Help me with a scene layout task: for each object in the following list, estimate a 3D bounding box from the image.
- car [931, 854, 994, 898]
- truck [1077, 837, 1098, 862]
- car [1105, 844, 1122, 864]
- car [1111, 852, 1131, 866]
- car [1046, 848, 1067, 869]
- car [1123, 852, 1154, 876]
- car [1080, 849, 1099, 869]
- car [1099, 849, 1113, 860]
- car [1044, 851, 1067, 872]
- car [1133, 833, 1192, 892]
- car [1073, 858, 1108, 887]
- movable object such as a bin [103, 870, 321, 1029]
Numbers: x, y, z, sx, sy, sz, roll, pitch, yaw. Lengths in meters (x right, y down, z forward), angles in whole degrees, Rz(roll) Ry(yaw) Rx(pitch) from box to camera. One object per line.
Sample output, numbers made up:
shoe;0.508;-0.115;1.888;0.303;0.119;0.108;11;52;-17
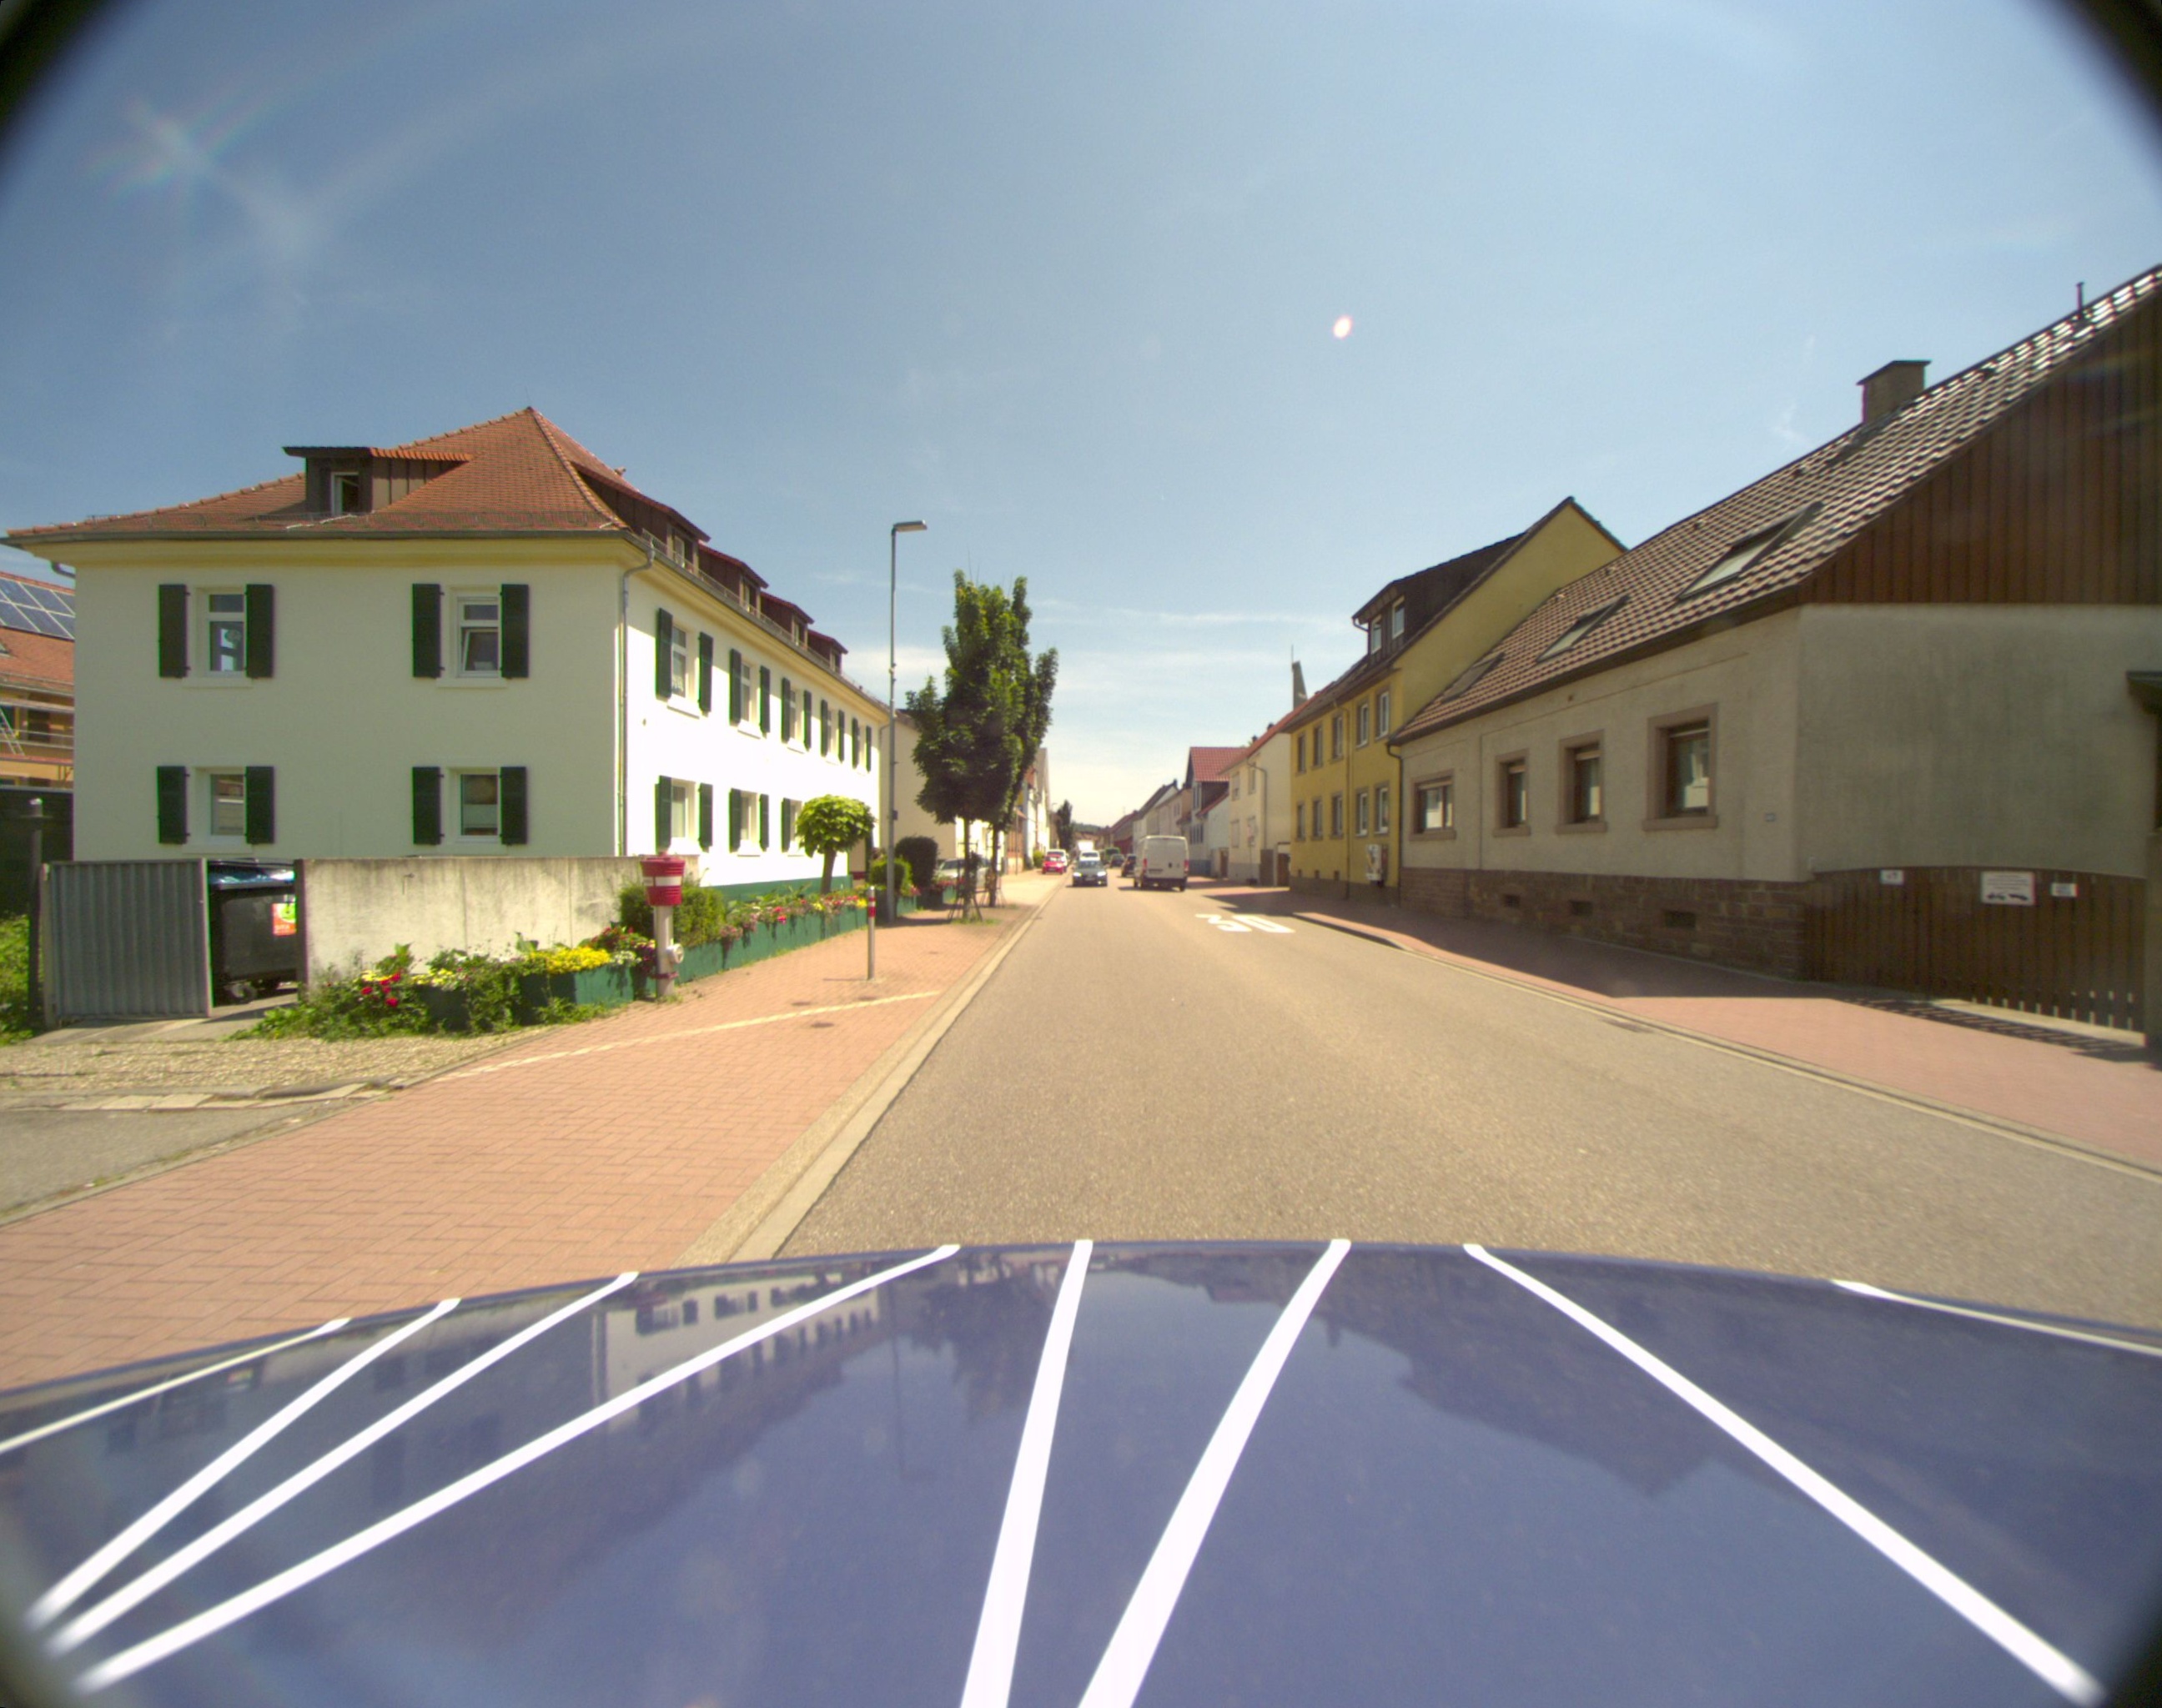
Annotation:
car;-4.543;0.791;29.734;1.509;1.521;4.437;-2;0;3
truck;0.989;-0.624;114.082;2.898;3.516;12.953;0;0;1
car;4.218;-0.007;99.129;1.983;2.502;4.250;2;0;0
car;4.306;0.541;82.814;1.983;1.508;4.250;0;0;0
car;-2.127;0.378;66.723;1.636;1.833;3.569;1;0;0
car;4.106;0.679;54.657;1.982;1.624;4.251;2;0;1
car;0.829;0.420;70.450;1.636;1.833;3.570;0;0;2
car;4.279;0.159;129.407;1.926;1.782;4.249;2;0;-3
car;-1.983;0.602;60.386;1.636;1.572;3.570;1;0;1
car;3.780;0.369;36.041;2.115;2.517;4.913;2;0;-1
car;0.505;0.934;39.829;1.705;1.346;4.000;-1;0;1
movable object such as a bin;-8.573;0.903;7.548;1.052;1.422;0.901;-3;1;2
